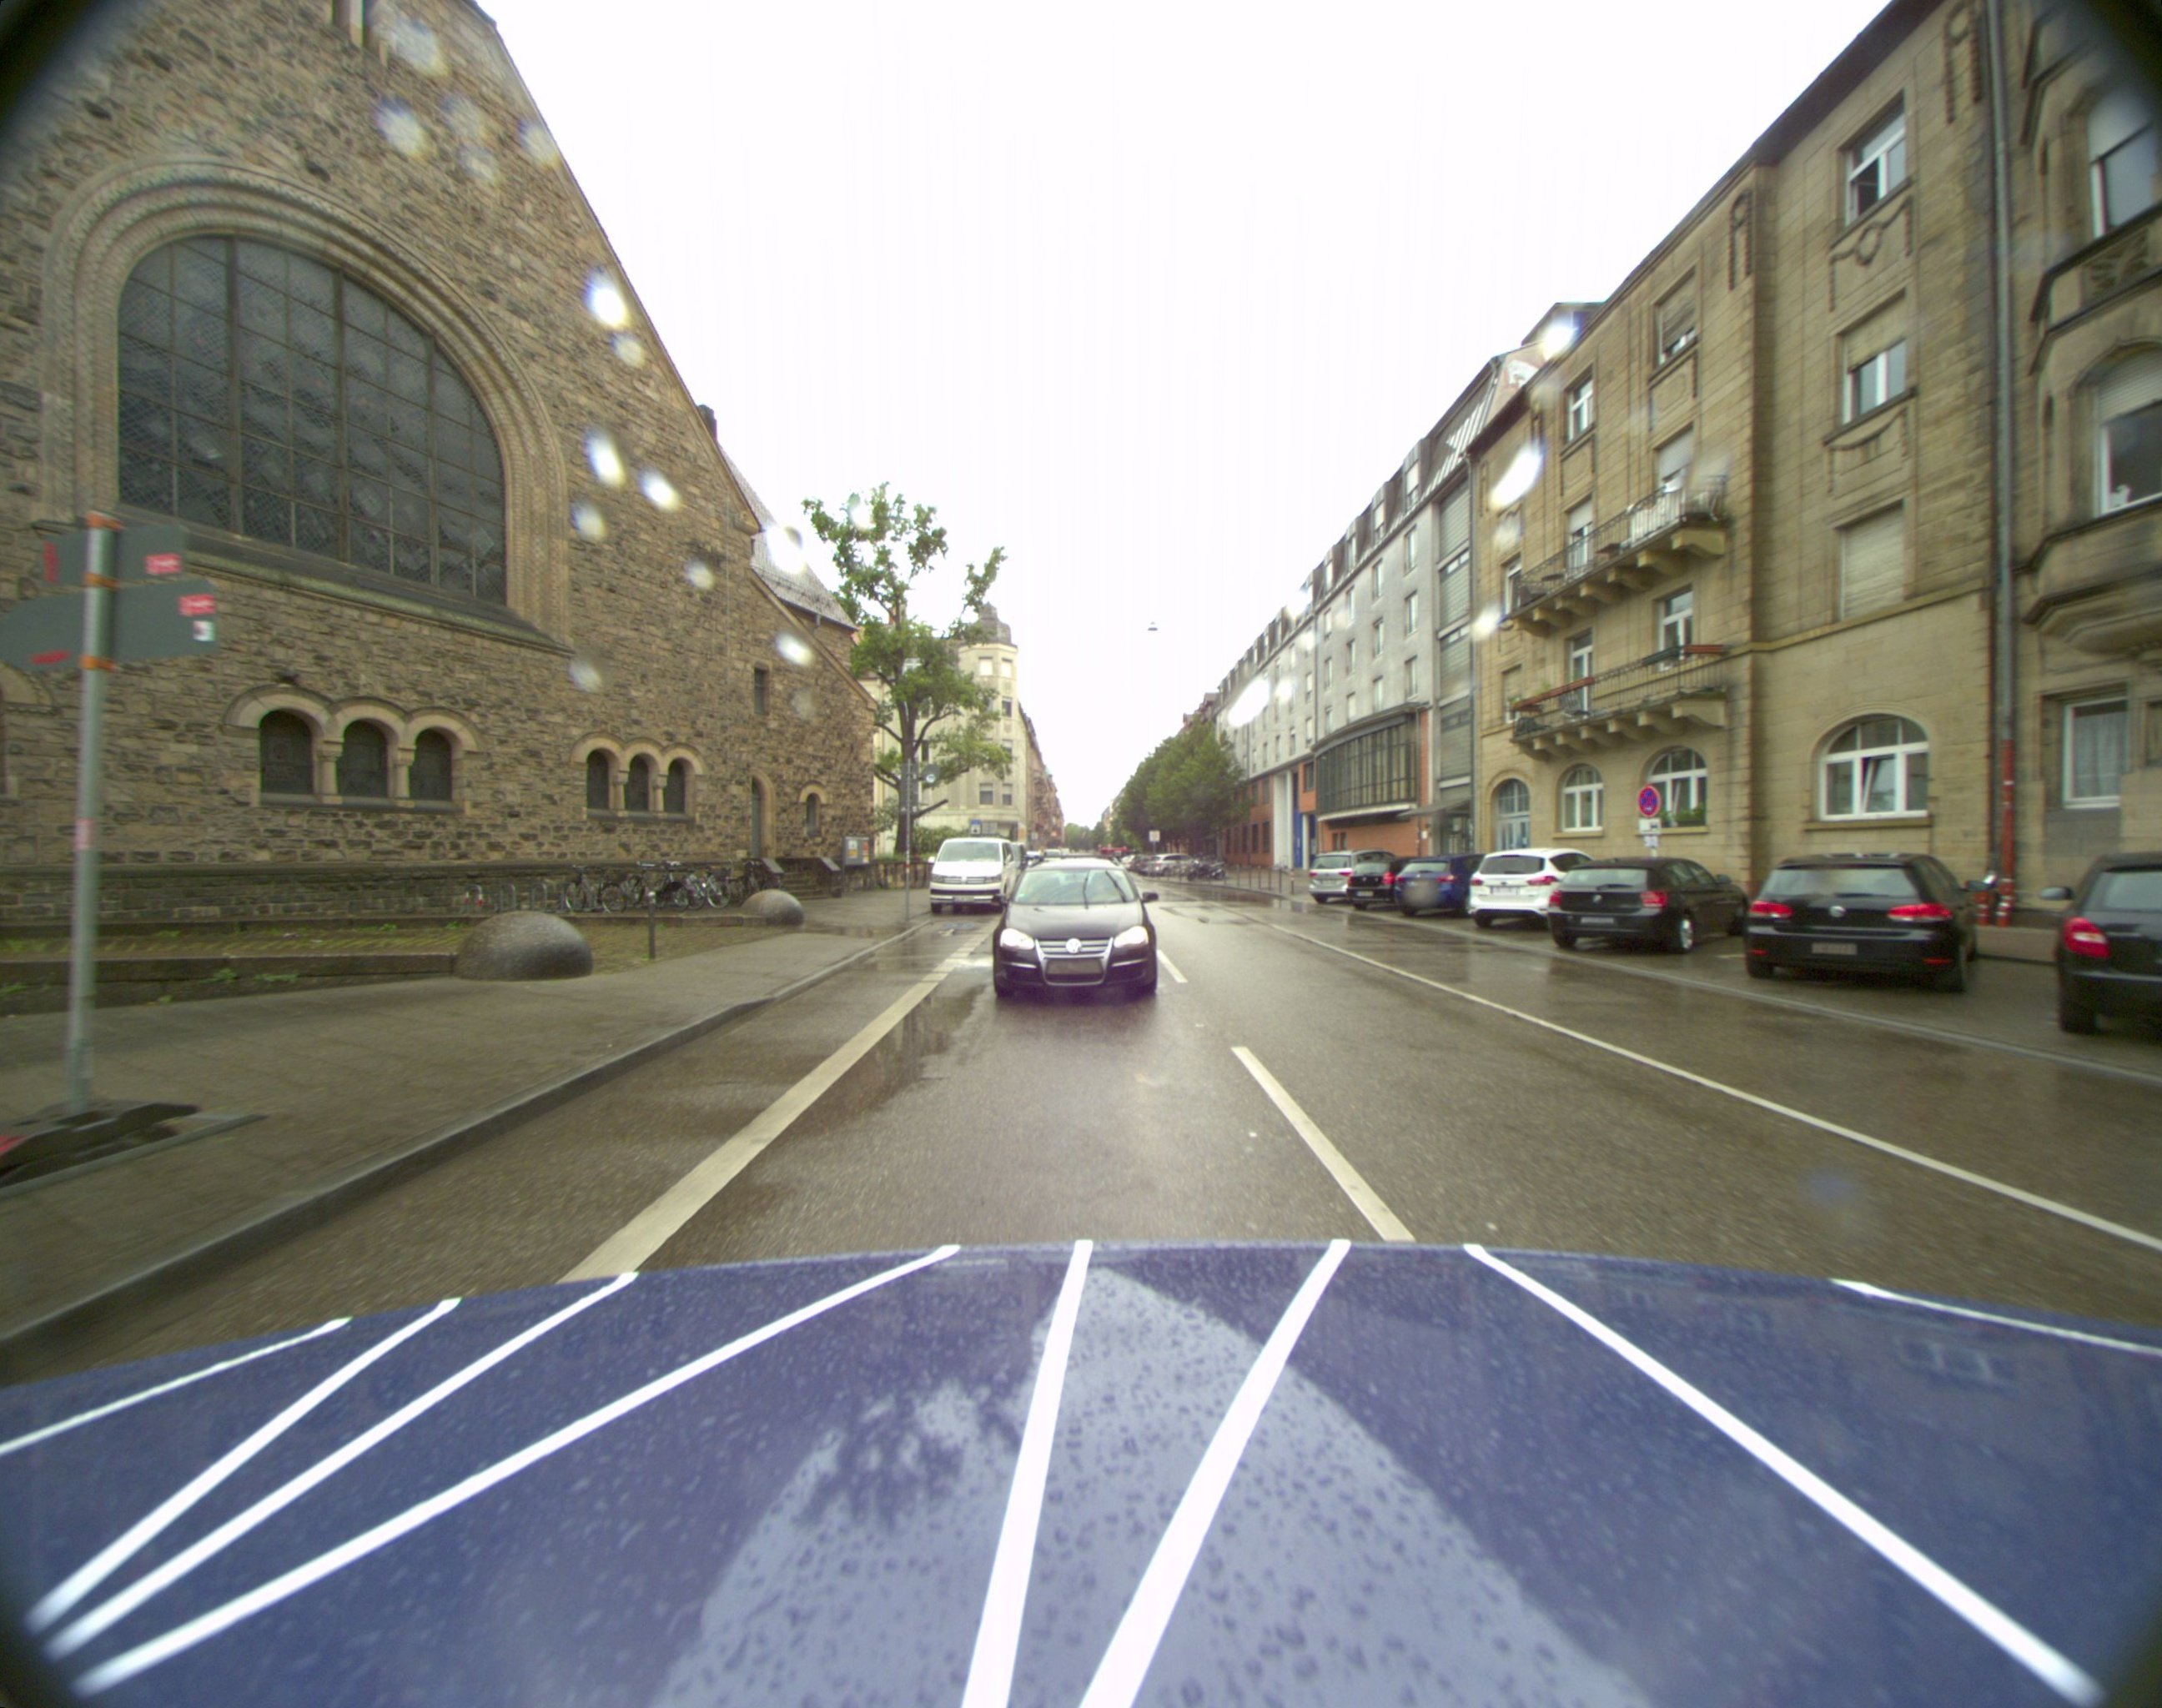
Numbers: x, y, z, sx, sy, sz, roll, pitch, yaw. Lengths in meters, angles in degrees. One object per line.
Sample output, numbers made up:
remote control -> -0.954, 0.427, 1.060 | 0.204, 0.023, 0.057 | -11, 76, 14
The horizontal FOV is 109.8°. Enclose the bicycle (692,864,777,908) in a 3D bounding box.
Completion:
bicycle -> -8.854, 0.795, 19.417 | 2.150, 1.054, 0.679 | 1, 1, 22

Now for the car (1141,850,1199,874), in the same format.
car -> 6.539, 0.584, 56.041 | 3.803, 1.705, 1.998 | 0, 1, -10

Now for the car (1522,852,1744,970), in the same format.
car -> 9.104, 0.817, 12.453 | 3.733, 1.535, 1.774 | -2, 0, -35

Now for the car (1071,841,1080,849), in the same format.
car -> -1.452, -2.312, 195.479 | 1.837, 1.827, 4.001 | 1, 1, 4

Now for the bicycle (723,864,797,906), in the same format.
bicycle -> -8.544, 0.803, 20.202 | 1.978, 1.060, 0.607 | 1, 1, 23

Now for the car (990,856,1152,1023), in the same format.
car -> -0.085, 0.828, 9.334 | 1.547, 1.553, 4.070 | 0, 0, 0

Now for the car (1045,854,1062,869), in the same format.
car -> -2.404, 0.615, 66.149 | 1.356, 1.285, 3.013 | 0, 1, 0

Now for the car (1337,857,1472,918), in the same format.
car -> 9.032, 0.863, 21.162 | 3.734, 1.518, 1.713 | 0, 1, -35

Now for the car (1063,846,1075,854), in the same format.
car -> -2.370, -0.802, 151.302 | 1.998, 1.705, 3.803 | 1, 1, 4

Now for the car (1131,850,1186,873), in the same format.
car -> 6.017, 0.586, 59.115 | 3.803, 1.705, 1.998 | 0, 1, -10

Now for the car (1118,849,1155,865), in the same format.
car -> 6.120, 0.348, 83.952 | 3.803, 1.705, 1.904 | 0, 1, -10

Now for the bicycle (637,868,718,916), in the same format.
bicycle -> -9.590, 0.875, 18.047 | 1.923, 1.054, 0.582 | 1, 1, 22

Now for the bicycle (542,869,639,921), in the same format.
bicycle -> -10.490, 0.860, 16.249 | 2.005, 1.043, 0.577 | 1, 1, 17

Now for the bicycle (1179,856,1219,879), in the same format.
bicycle -> 6.529, 0.762, 42.199 | 2.049, 1.165, 0.773 | -3, 1, -3

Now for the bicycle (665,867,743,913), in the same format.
bicycle -> -9.297, 0.867, 18.734 | 1.923, 1.054, 0.582 | 1, 1, 22

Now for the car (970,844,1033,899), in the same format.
car -> -2.827, 0.569, 27.883 | 1.837, 1.835, 4.295 | 0, 1, 0

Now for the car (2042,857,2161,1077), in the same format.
car -> 9.656, 0.849, 6.486 | 3.450, 1.535, 1.624 | -2, 1, -36

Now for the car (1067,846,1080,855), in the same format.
car -> -1.291, -0.626, 136.953 | 1.998, 1.705, 3.803 | 1, 1, 4

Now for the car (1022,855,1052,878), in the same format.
car -> -2.656, 0.735, 46.214 | 1.558, 1.285, 3.662 | 0, 0, 0

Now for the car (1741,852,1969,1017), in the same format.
car -> 9.620, 0.813, 9.358 | 3.766, 1.535, 1.624 | -2, 1, -40

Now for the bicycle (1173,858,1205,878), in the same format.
bicycle -> 6.124, 0.805, 43.160 | 1.688, 1.067, 0.544 | -3, 1, -3

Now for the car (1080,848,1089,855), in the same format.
car -> 0.881, -0.584, 187.225 | 1.998, 1.705, 4.376 | 1, 0, 4

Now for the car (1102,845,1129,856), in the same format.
car -> 5.447, -0.614, 120.137 | 3.809, 1.705, 1.995 | 0, 1, -33

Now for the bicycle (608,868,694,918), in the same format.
bicycle -> -9.842, 0.871, 17.402 | 1.924, 1.054, 0.582 | 1, 1, 19

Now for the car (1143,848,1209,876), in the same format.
car -> 6.416, 0.516, 51.324 | 4.006, 1.804, 1.995 | 0, 1, -26

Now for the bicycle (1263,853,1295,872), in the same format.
bicycle -> 13.250, 0.535, 50.835 | 1.901, 1.217, 0.938 | 1, 1, 26

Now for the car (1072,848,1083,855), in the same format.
car -> -0.770, -0.548, 172.464 | 1.998, 1.705, 4.376 | 1, 0, 4

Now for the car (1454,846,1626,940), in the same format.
car -> 9.540, 0.713, 15.712 | 3.734, 1.617, 1.774 | -2, 1, -38

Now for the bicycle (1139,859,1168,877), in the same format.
bicycle -> 4.551, 0.882, 47.869 | 1.688, 1.067, 0.544 | 2, 1, -3

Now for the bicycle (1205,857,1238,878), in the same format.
bicycle -> 7.980, 0.753, 43.154 | 1.688, 1.067, 0.544 | -3, 1, -3

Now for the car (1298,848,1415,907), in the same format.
car -> 8.867, 0.695, 24.333 | 3.931, 1.720, 1.811 | 0, 1, -41

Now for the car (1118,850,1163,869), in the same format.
car -> 5.631, 0.501, 72.008 | 3.803, 1.705, 1.998 | 0, 1, -10

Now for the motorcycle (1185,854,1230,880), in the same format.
motorcycle -> 6.843, 0.712, 41.230 | 2.255, 1.302, 0.758 | -2, 1, 0

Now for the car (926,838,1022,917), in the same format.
car -> -2.820, 0.558, 21.179 | 1.909, 1.911, 5.272 | 0, 0, 0

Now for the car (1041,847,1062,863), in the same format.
car -> -2.824, 0.044, 73.171 | 1.922, 1.470, 4.220 | 0, 0, -1

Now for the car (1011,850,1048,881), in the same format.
car -> -2.731, 0.581, 40.978 | 1.674, 1.540, 3.918 | 0, 0, 0

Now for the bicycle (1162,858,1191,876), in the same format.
bicycle -> 5.883, 0.808, 46.923 | 1.688, 1.067, 0.544 | 0, 1, -3

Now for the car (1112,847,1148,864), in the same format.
car -> 5.968, 0.198, 92.385 | 4.006, 2.002, 1.995 | 0, 1, -28

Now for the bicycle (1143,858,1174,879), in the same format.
bicycle -> 4.552, 0.826, 44.668 | 1.688, 1.067, 0.544 | -5, 1, -3

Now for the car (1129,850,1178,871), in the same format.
car -> 6.145, 0.542, 64.703 | 3.803, 1.705, 1.998 | 0, 1, -10

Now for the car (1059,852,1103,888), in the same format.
car -> -0.003, 0.627, 32.685 | 1.766, 1.430, 3.748 | 0, 0, 0

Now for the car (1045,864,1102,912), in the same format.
car -> -0.188, 0.957, 22.670 | 1.547, 1.214, 3.607 | 0, 0, 0

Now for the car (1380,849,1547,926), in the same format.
car -> 9.355, 0.726, 18.526 | 3.732, 1.519, 1.897 | -4, 3, -30
